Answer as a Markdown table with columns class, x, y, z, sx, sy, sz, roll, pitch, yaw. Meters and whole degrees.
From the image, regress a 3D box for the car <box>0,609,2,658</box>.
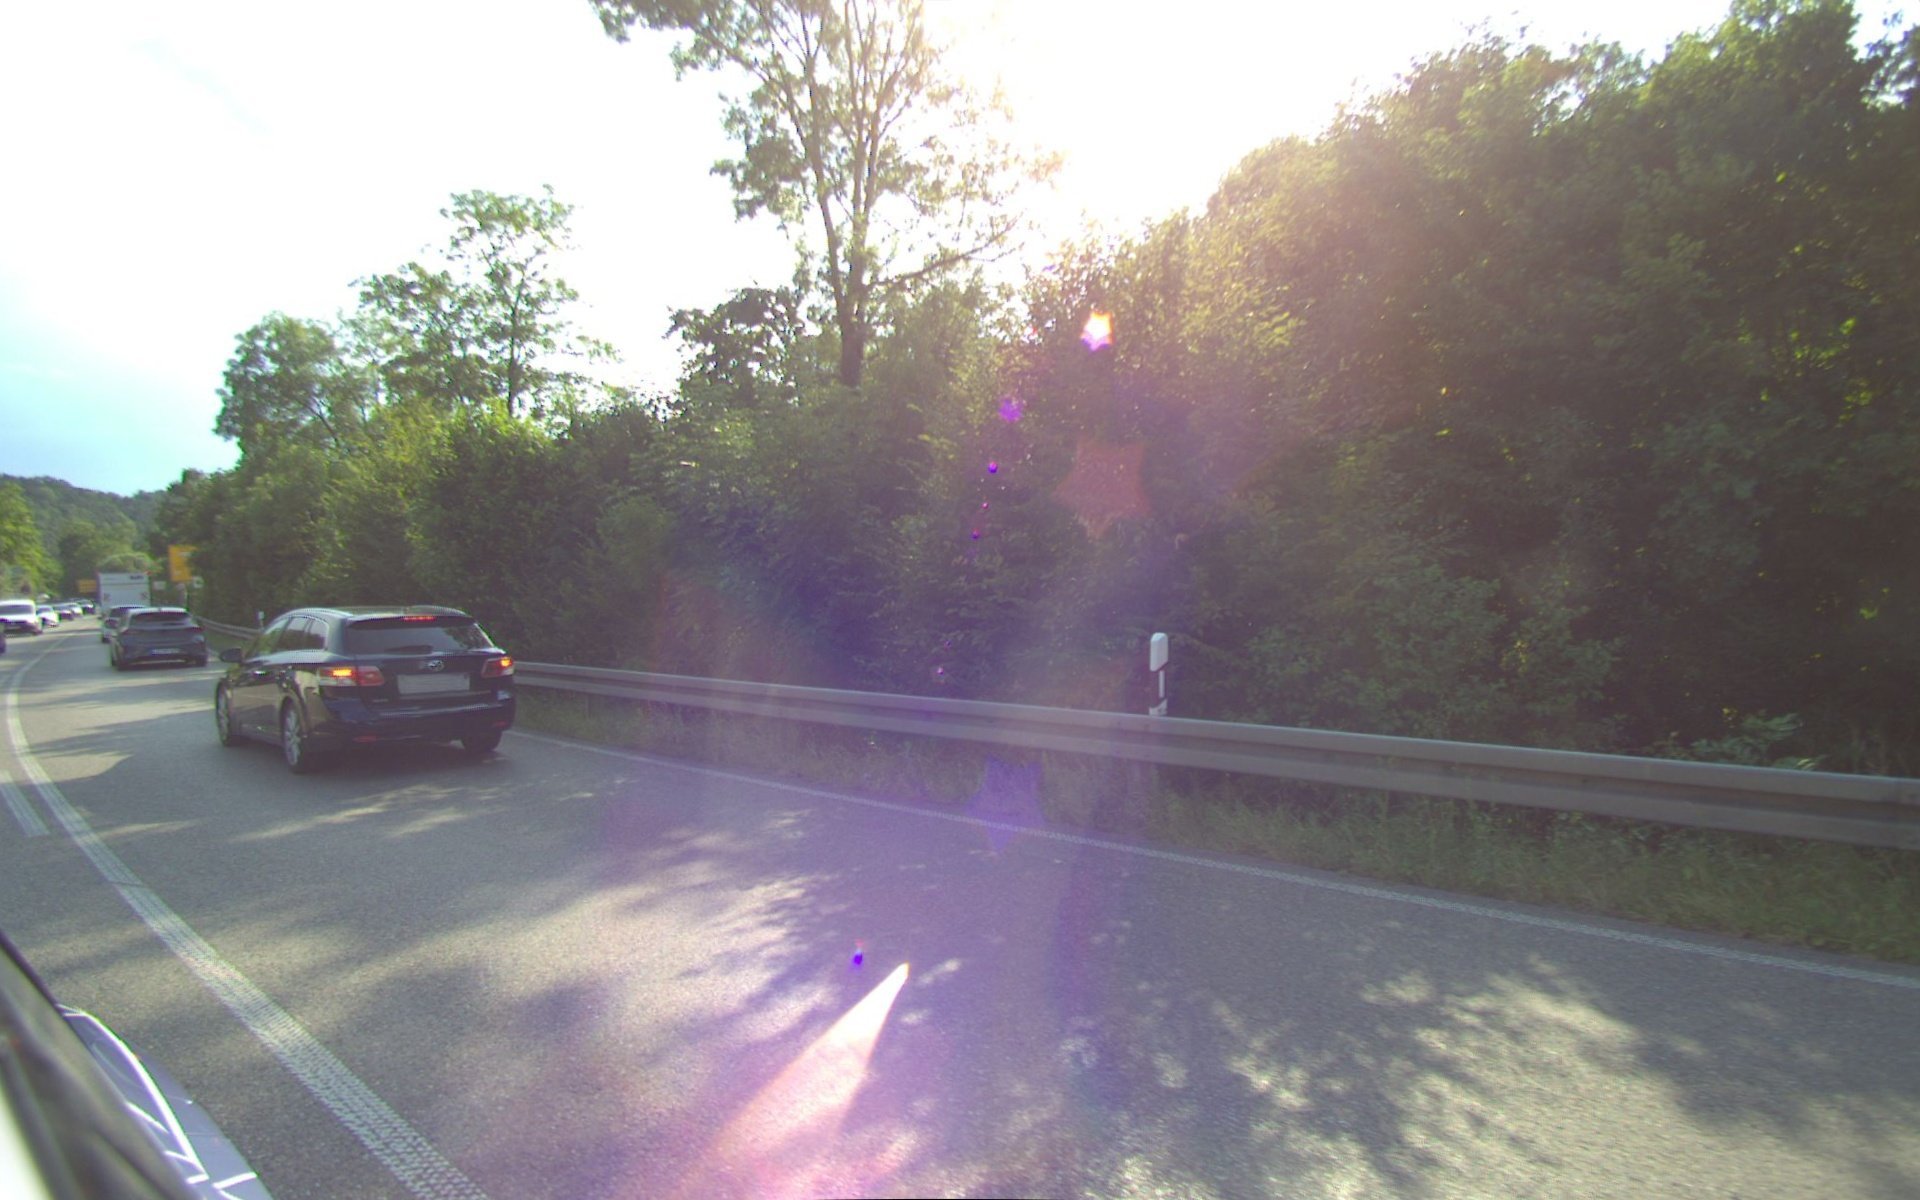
| class | x | y | z | sx | sy | sz | roll | pitch | yaw |
| --- | --- | --- | --- | --- | --- | --- | --- | --- | --- |
| car | -31.298 | 1.102 | 31.575 | 1.821 | 1.581 | 4.263 | -2 | 1 | -41 |

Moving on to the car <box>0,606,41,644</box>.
| class | x | y | z | sx | sy | sz | roll | pitch | yaw |
| --- | --- | --- | --- | --- | --- | --- | --- | --- | --- |
| car | -46.859 | 1.210 | 50.028 | 1.840 | 1.733 | 4.771 | -4 | 2 | -40 |

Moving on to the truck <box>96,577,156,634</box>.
| class | x | y | z | sx | sy | sz | roll | pitch | yaw |
| --- | --- | --- | --- | --- | --- | --- | --- | --- | --- |
| truck | -47.742 | 0.278 | 58.038 | 2.424 | 3.095 | 6.277 | -1 | 0 | -38 |

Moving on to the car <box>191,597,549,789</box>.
| class | x | y | z | sx | sy | sz | roll | pitch | yaw |
| --- | --- | --- | --- | --- | --- | --- | --- | --- | --- |
| car | -6.072 | 0.774 | 10.172 | 4.402 | 1.519 | 1.831 | -1 | -1 | 42 |

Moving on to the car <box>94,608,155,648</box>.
| class | x | y | z | sx | sy | sz | roll | pitch | yaw |
| --- | --- | --- | --- | --- | --- | --- | --- | --- | --- |
| car | -33.421 | 1.075 | 40.436 | 1.770 | 1.456 | 3.799 | -2 | 1 | -41 |

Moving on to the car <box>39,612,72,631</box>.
| class | x | y | z | sx | sy | sz | roll | pitch | yaw |
| --- | --- | --- | --- | --- | --- | --- | --- | --- | --- |
| car | -77.207 | 1.848 | 86.428 | 1.831 | 1.431 | 4.428 | -4 | 2 | -38 |

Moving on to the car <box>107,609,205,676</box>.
| class | x | y | z | sx | sy | sz | roll | pitch | yaw |
| --- | --- | --- | --- | --- | --- | --- | --- | --- | --- |
| car | -19.538 | 0.967 | 24.533 | 1.640 | 1.456 | 3.927 | -2 | 1 | -42 |

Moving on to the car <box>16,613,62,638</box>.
| class | x | y | z | sx | sy | sz | roll | pitch | yaw |
| --- | --- | --- | --- | --- | --- | --- | --- | --- | --- |
| car | -61.033 | 1.668 | 67.121 | 1.868 | 1.456 | 4.484 | -4 | 2 | -39 |

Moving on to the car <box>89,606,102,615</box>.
| class | x | y | z | sx | sy | sz | roll | pitch | yaw |
| --- | --- | --- | --- | --- | --- | --- | --- | --- | --- |
| car | -165.372 | 1.968 | 193.604 | 1.770 | 1.644 | 4.264 | -4 | 2 | -40 |

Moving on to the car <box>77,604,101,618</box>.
| class | x | y | z | sx | sy | sz | roll | pitch | yaw |
| --- | --- | --- | --- | --- | --- | --- | --- | --- | --- |
| car | -96.082 | 1.206 | 111.699 | 1.868 | 1.456 | 4.484 | -2 | 1 | -39 |
